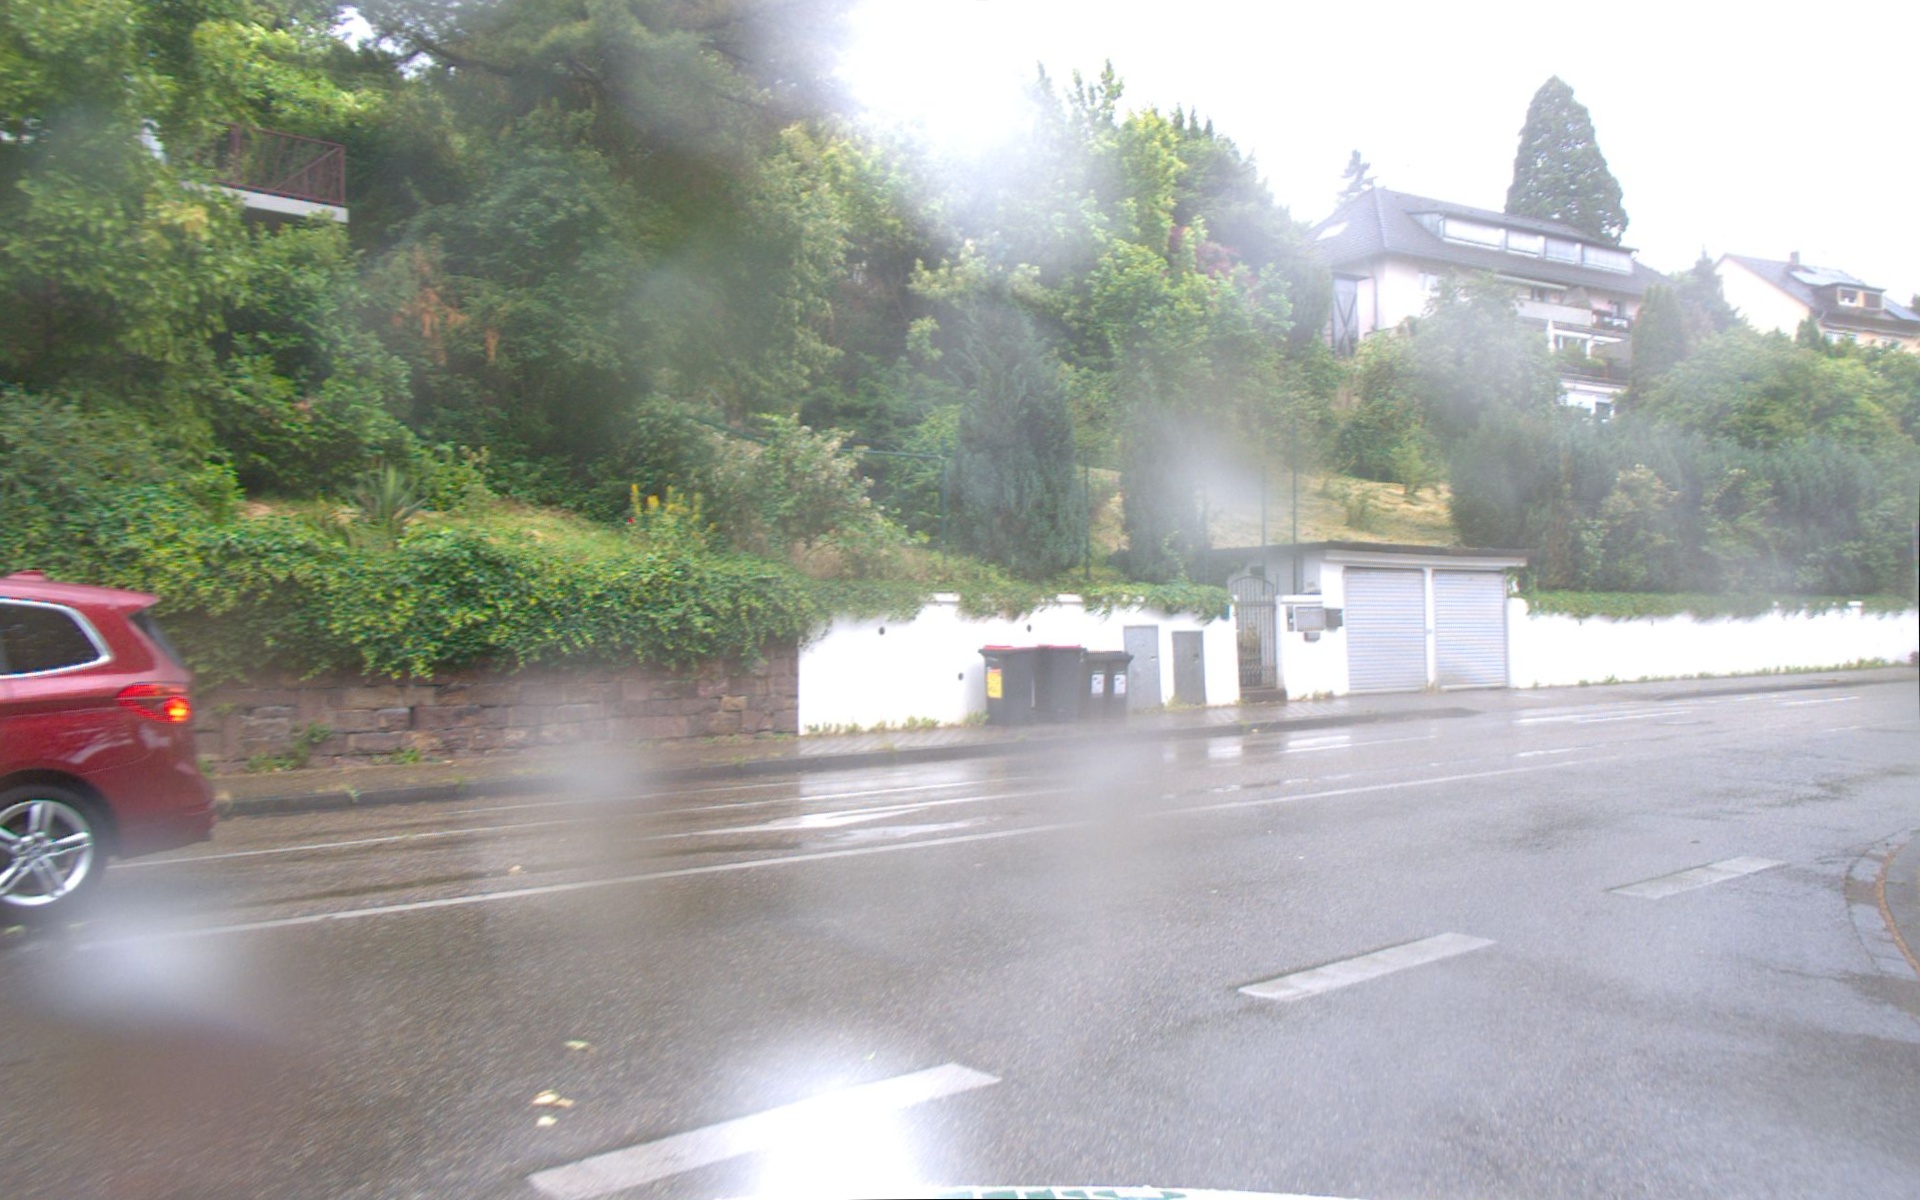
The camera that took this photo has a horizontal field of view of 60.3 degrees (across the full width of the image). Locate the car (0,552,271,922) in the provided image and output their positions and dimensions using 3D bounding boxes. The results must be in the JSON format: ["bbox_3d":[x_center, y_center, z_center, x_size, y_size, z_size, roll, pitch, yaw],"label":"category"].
[{"bbox_3d":[-5.648,0.661,7.233,4.542,1.629,1.748,-2,-1,-41],"label":"car"}]

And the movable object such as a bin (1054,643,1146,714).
[{"bbox_3d":[1.962,1.091,23.129,0.946,0.932,0.839,-1,-1,-42],"label":"movable object such as a bin"}]

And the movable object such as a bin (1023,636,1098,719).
[{"bbox_3d":[1.357,1.038,22.319,0.787,1.079,0.627,-1,-2,-41],"label":"movable object such as a bin"}]

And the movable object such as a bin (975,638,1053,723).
[{"bbox_3d":[0.709,1.051,21.854,0.747,1.079,0.678,-1,-2,-41],"label":"movable object such as a bin"}]
